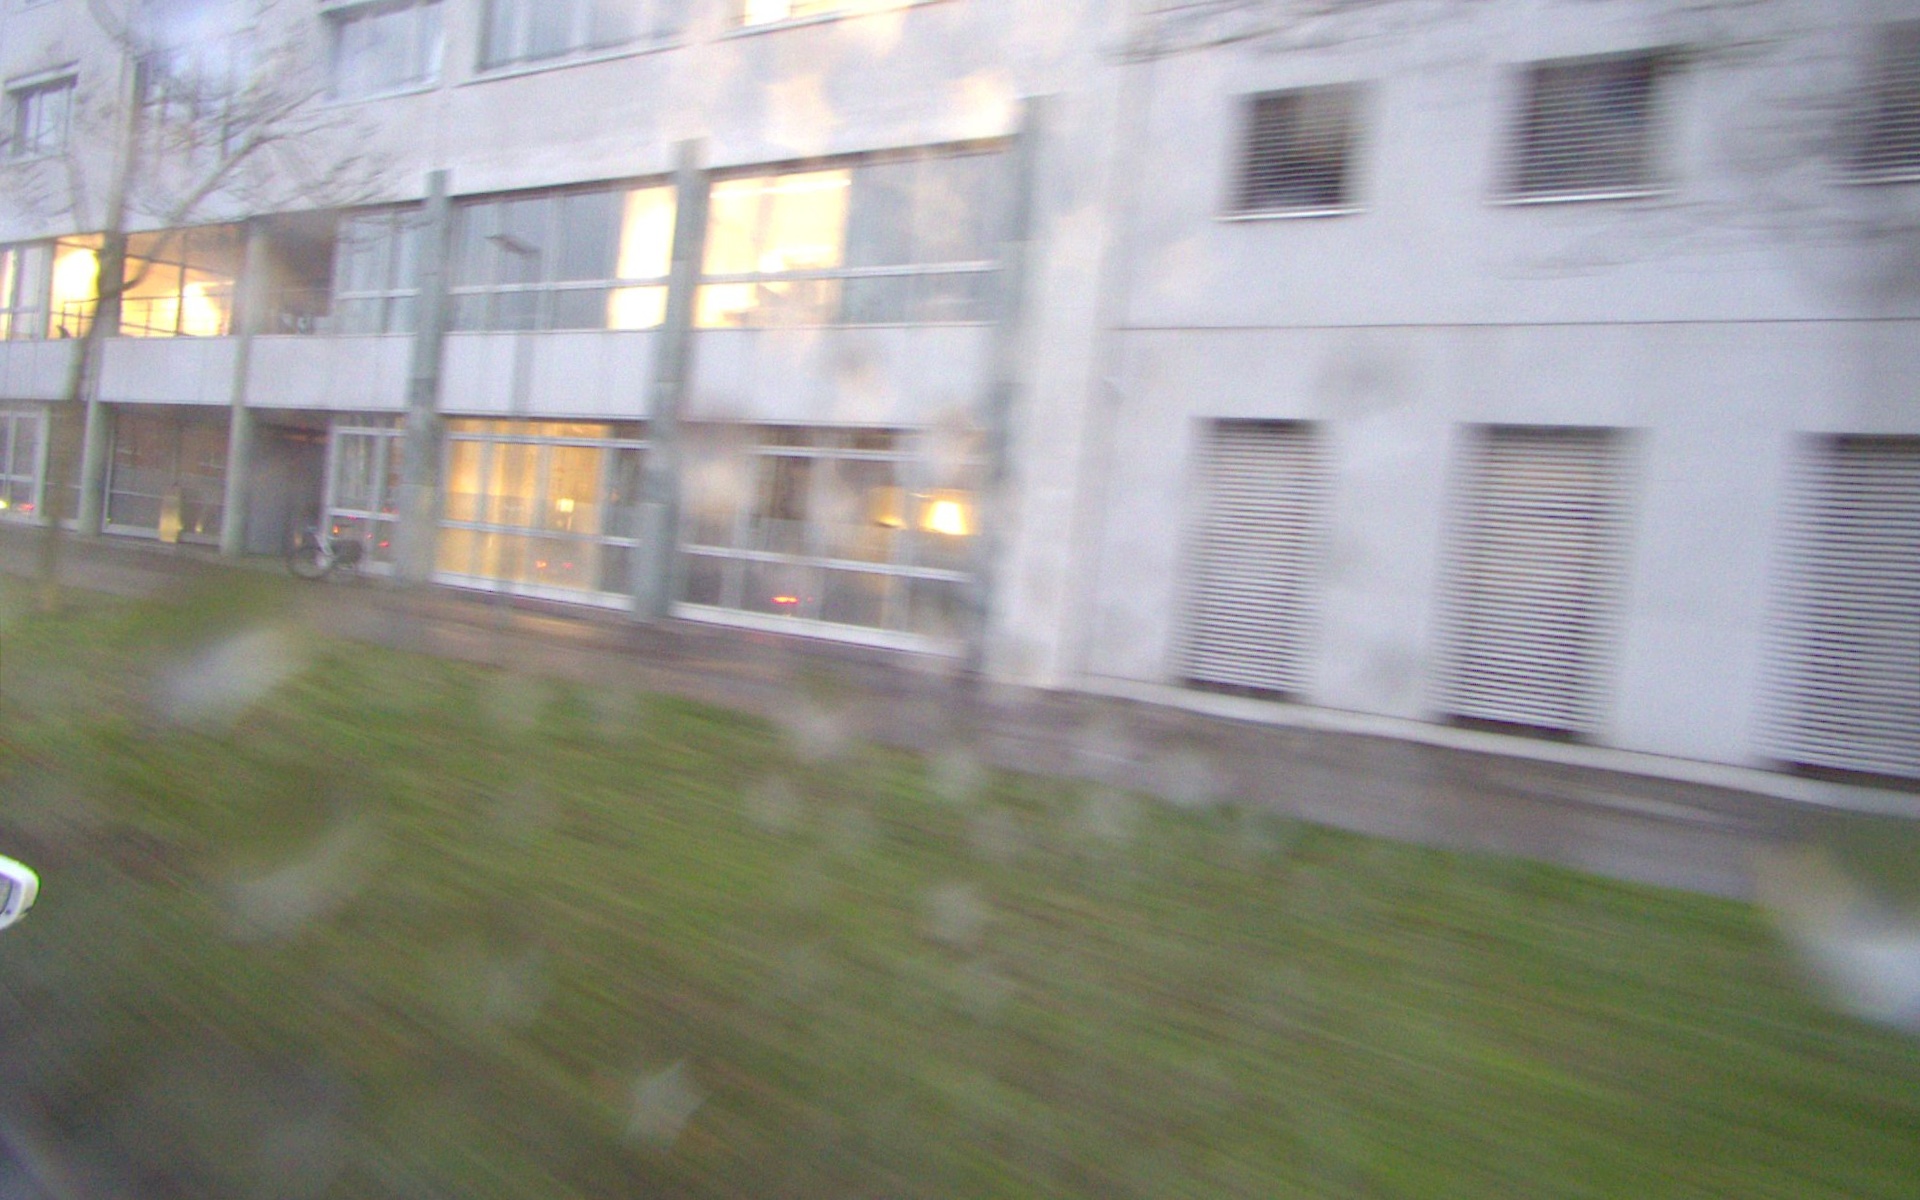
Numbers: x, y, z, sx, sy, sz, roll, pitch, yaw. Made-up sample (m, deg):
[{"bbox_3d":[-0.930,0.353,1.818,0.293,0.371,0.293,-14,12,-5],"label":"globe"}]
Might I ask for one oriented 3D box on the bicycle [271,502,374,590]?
[{"bbox_3d":[-10.776,-0.928,16.965,2.423,1.291,0.819,8,5,42],"label":"bicycle"}]
